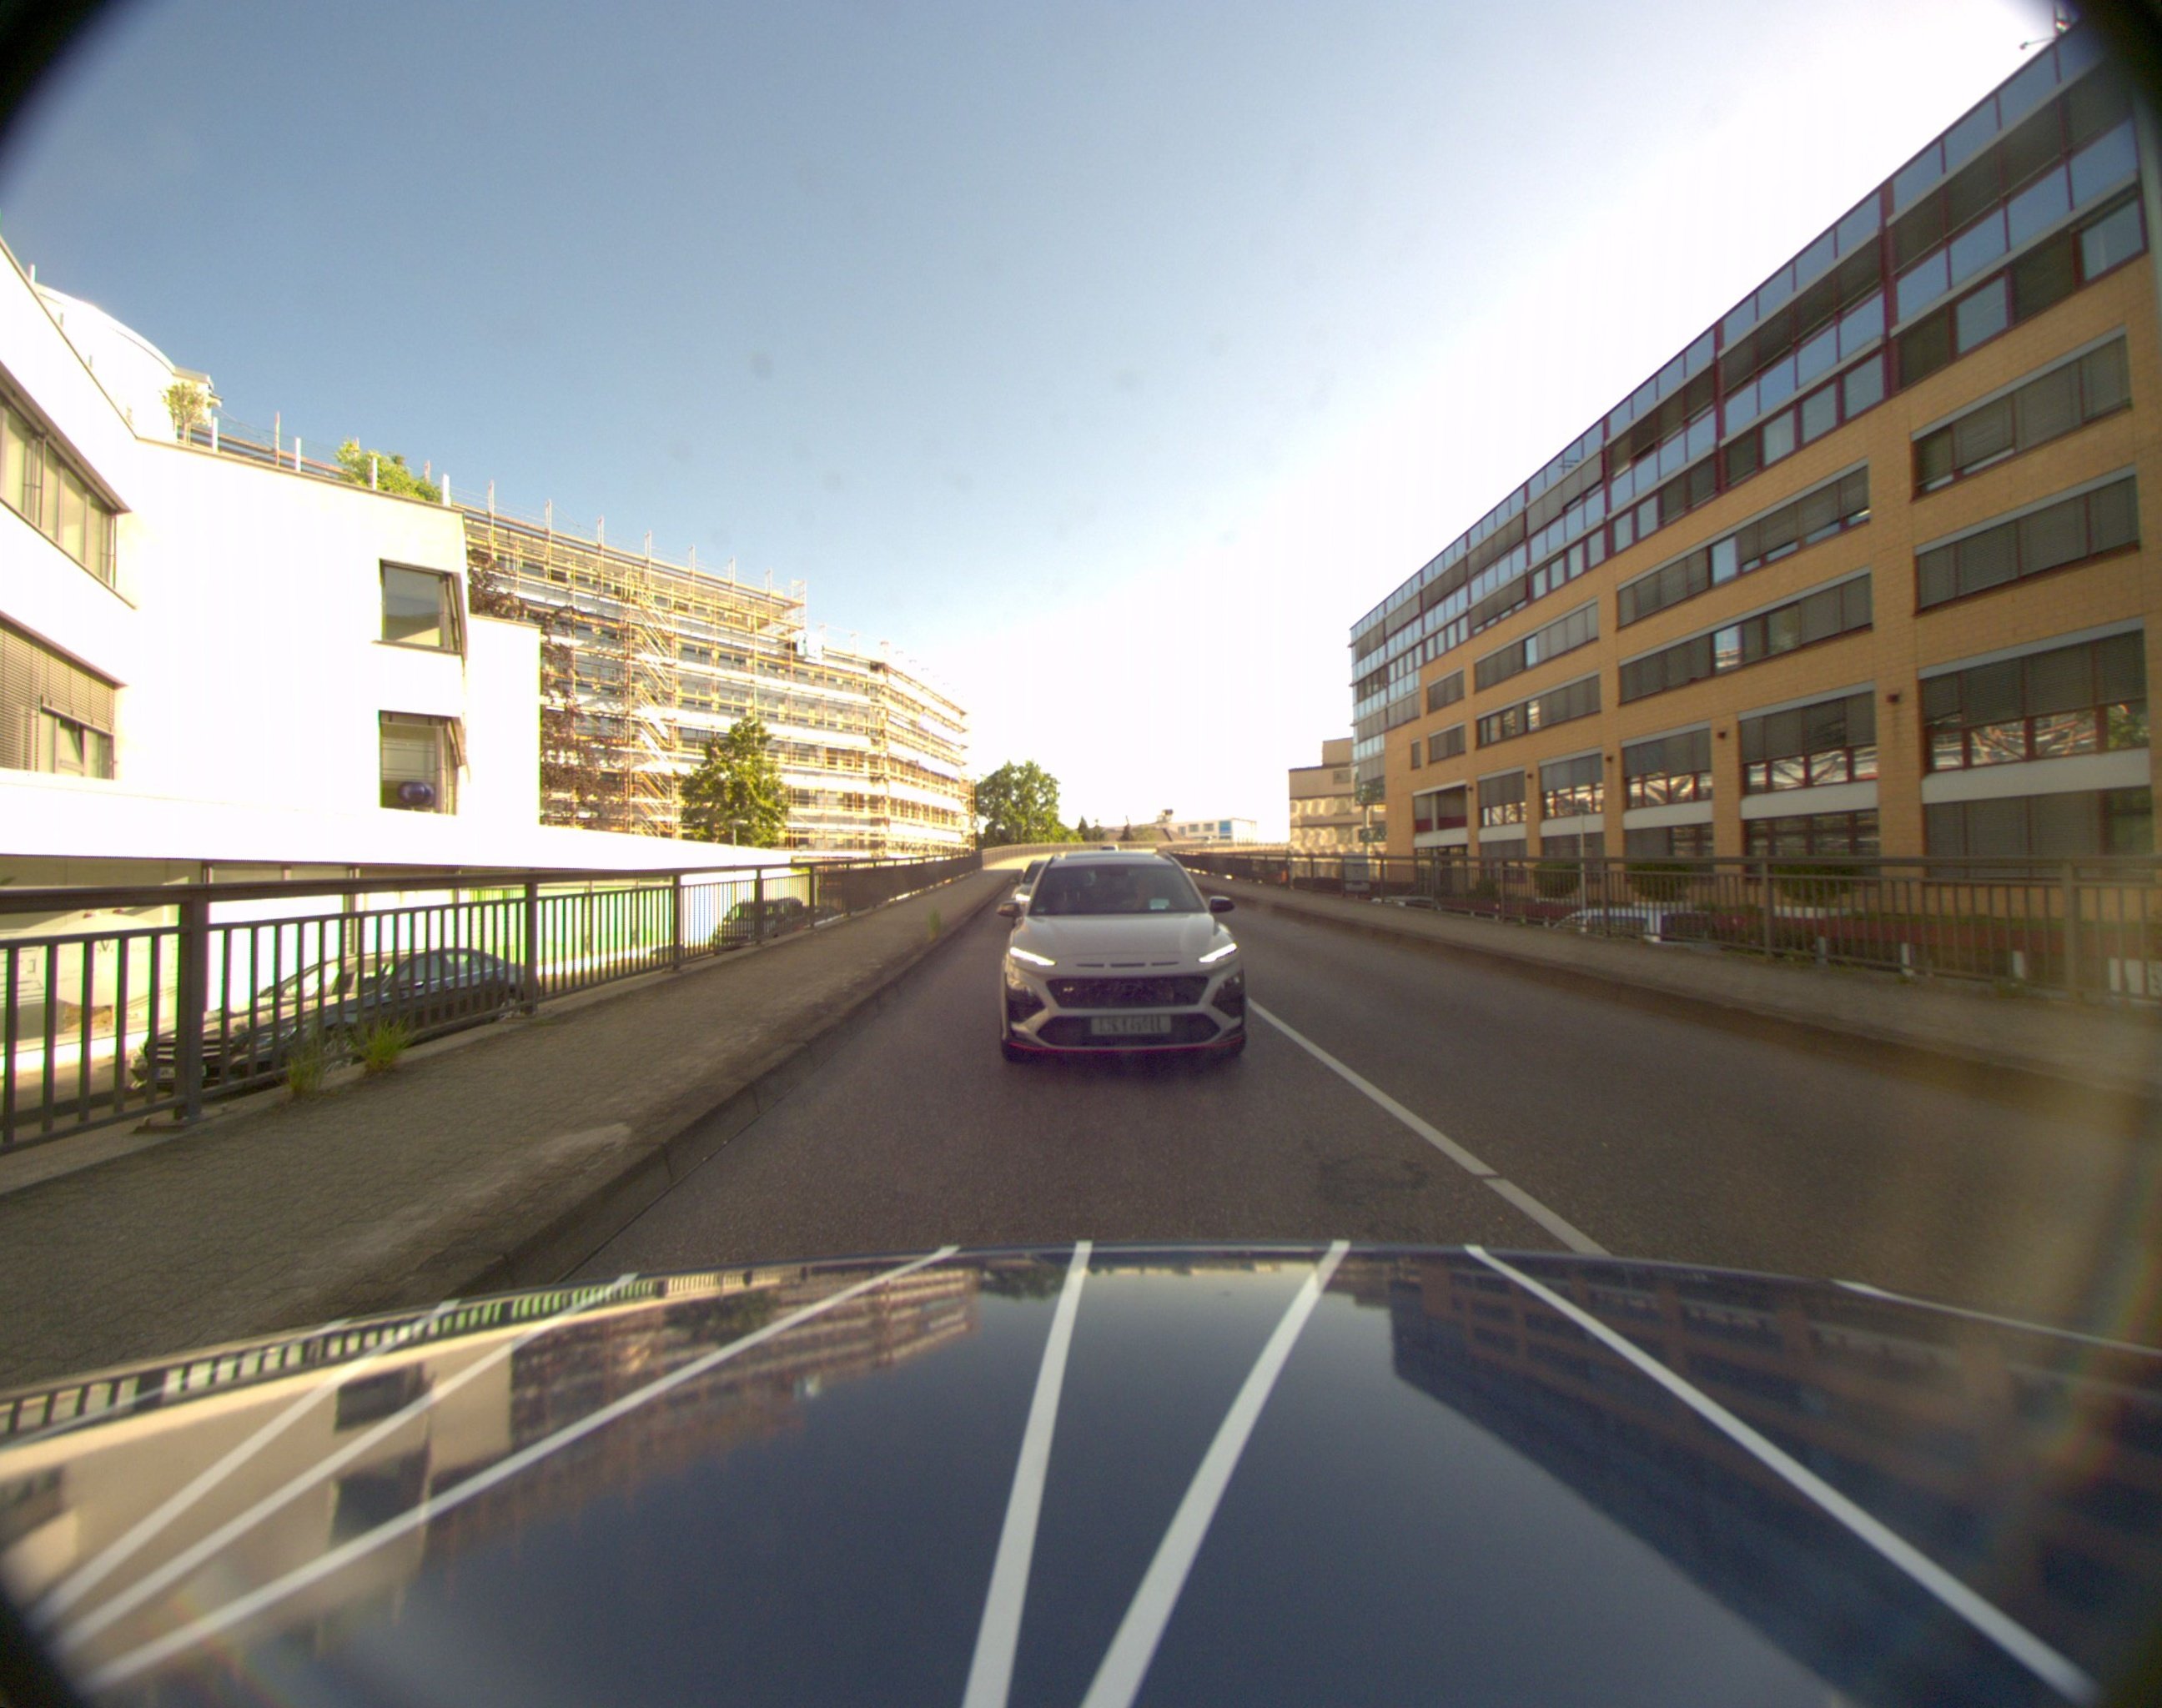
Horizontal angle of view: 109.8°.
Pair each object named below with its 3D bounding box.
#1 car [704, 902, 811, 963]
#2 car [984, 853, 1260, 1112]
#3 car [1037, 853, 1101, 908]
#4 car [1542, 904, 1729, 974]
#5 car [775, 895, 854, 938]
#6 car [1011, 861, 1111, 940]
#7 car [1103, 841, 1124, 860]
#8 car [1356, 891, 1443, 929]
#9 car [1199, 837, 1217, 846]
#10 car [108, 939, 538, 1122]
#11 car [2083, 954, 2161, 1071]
[{"bbox_3d":[-10.161,2.411,24.189,1.726,1.513,4.000,-2,-1,-2],"label":"car"},{"bbox_3d":[0.265,0.845,6.836,1.749,1.637,4.000,0,-1,0],"label":"car"},{"bbox_3d":[-0.437,0.844,25.927,1.952,1.456,3.997,3,3,-2],"label":"car"},{"bbox_3d":[12.879,1.927,17.975,1.580,1.261,3.809,0,-1,-2],"label":"car"},{"bbox_3d":[-10.416,2.408,29.973,1.726,1.384,4.000,-2,-1,-2],"label":"car"},{"bbox_3d":[-0.454,0.916,16.615,1.902,1.434,4.126,0,0,-2],"label":"car"},{"bbox_3d":[3.029,-0.345,69.494,1.808,1.614,4.000,-1,1,4],"label":"car"},{"bbox_3d":[12.420,2.164,29.877,1.766,1.261,3.809,0,-1,-2],"label":"car"},{"bbox_3d":[20.006,-1.996,119.409,1.743,1.399,4.208,0,0,25],"label":"car"},{"bbox_3d":[-9.592,2.124,10.184,1.726,1.513,4.000,-2,-1,0],"label":"car"},{"bbox_3d":[13.237,1.849,7.524,1.580,1.261,3.809,0,-1,-2],"label":"car"}]
